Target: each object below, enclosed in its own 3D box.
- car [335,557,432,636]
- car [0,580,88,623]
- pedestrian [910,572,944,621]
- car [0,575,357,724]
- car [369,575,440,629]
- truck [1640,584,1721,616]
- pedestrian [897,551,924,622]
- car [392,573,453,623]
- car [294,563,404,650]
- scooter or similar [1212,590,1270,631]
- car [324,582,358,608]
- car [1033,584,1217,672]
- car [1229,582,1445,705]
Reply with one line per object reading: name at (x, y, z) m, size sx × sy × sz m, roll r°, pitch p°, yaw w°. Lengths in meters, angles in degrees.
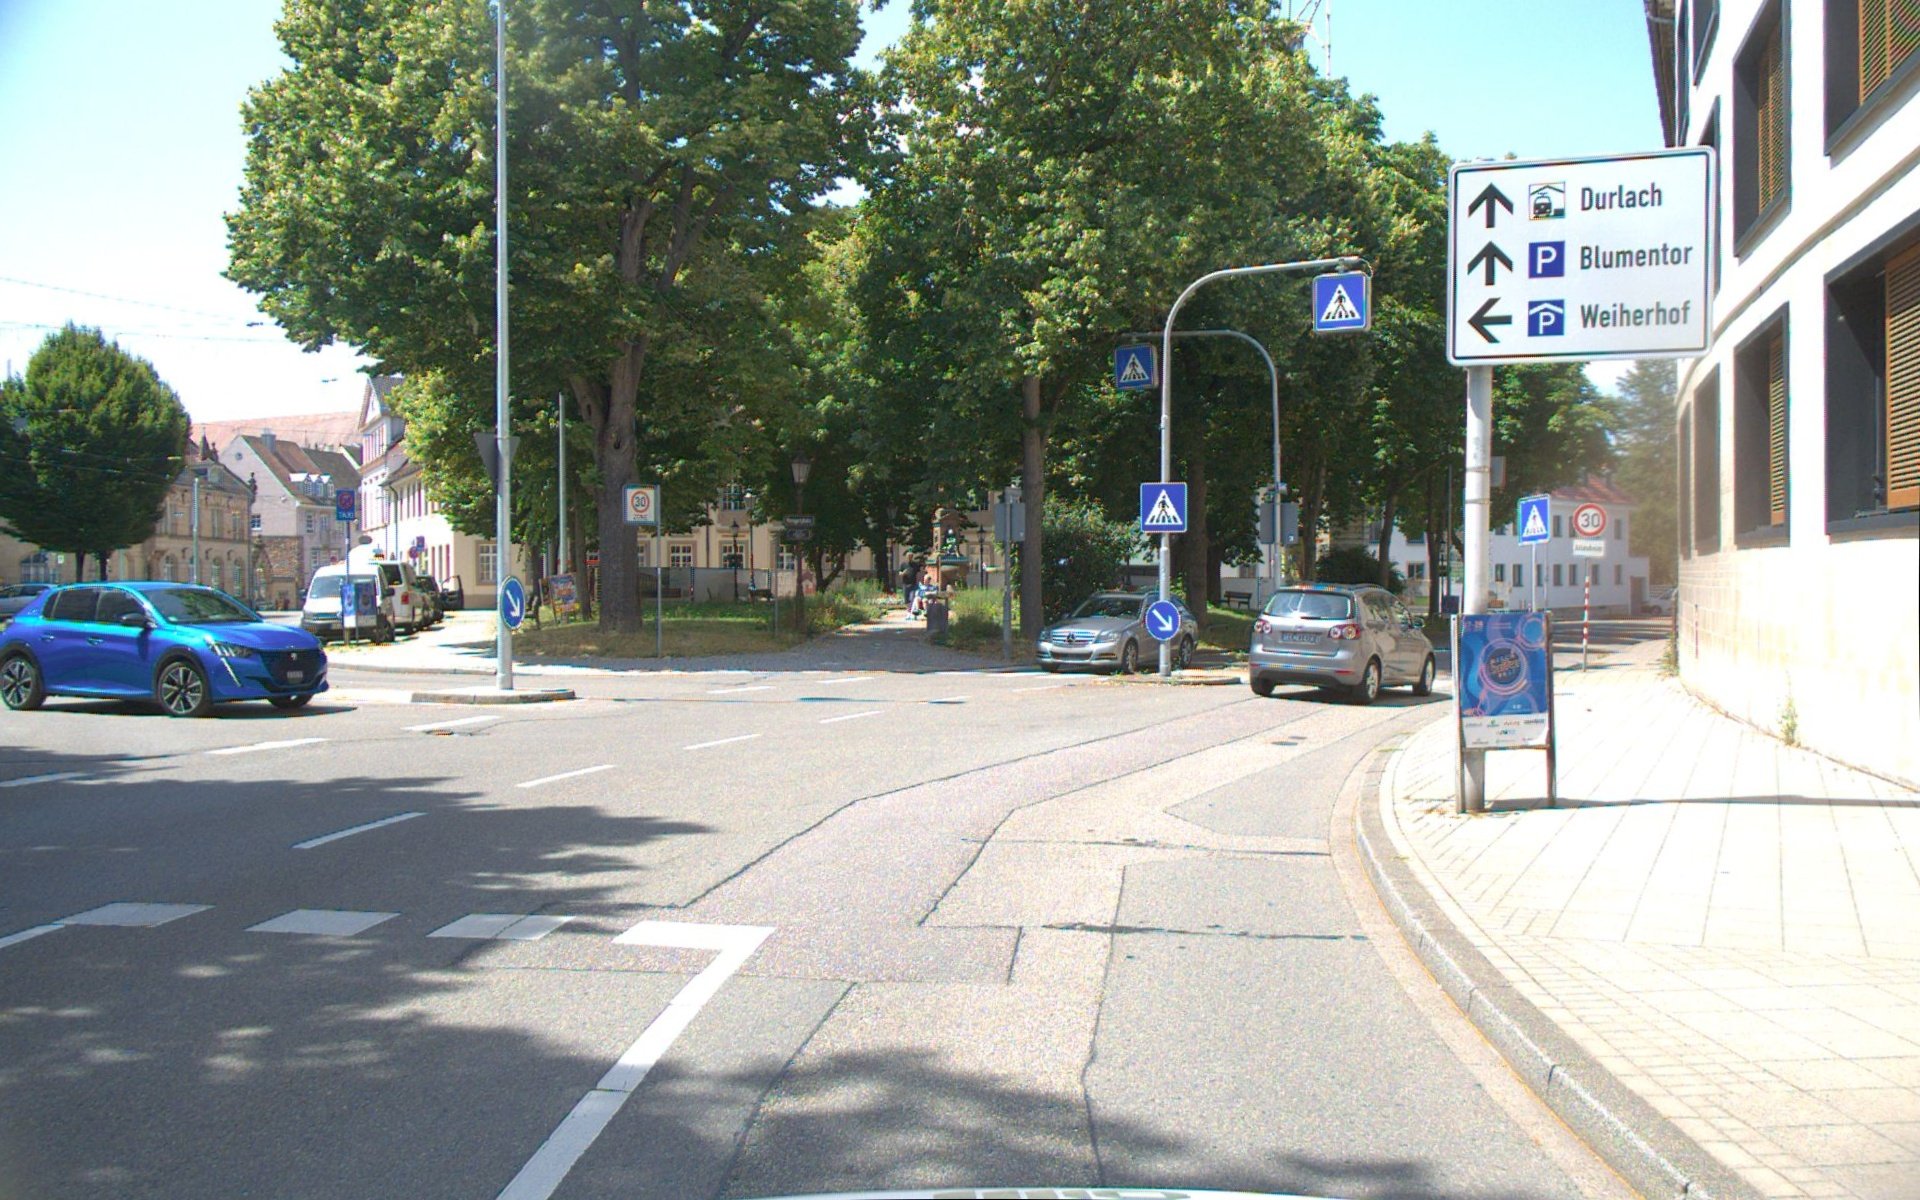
car at (-15.879, -0.126, 45.774) m, size 2.014 × 2.037 × 5.230 m, roll 0°, pitch 1°, yaw -14°
car at (-36.732, 0.080, 64.866) m, size 4.140 × 1.531 × 1.993 m, roll -3°, pitch 1°, yaw -20°
pedestrian at (-0.882, -0.100, 44.782) m, size 0.887 × 1.273 × 1.148 m, roll 0°, pitch 2°, yaw 0°
car at (-9.059, 0.494, 18.936) m, size 3.907 × 1.518 × 1.815 m, roll 1°, pitch 2°, yaw 24°
car at (-17.664, 0.034, 52.785) m, size 1.753 × 1.652 × 4.470 m, roll 0°, pitch 1°, yaw -14°
truck at (47.308, -0.028, 108.684) m, size 4.694 × 2.049 × 2.146 m, roll 1°, pitch 0°, yaw 20°
pedestrian at (-1.362, -0.374, 45.606) m, size 0.732 × 1.944 × 0.684 m, roll 0°, pitch 2°, yaw 0°
car at (-19.335, -0.098, 59.613) m, size 1.753 × 1.723 × 4.185 m, roll 0°, pitch 1°, yaw -14°
car at (-13.762, 0.106, 37.480) m, size 1.961 × 1.858 × 4.404 m, roll 0°, pitch 1°, yaw -15°
scooter or similar at (8.264, 0.293, 48.622) m, size 1.248 × 1.007 × 1.451 m, roll 10°, pitch 4°, yaw 24°
car at (-37.059, -0.301, 98.935) m, size 1.834 × 1.512 × 3.974 m, roll 0°, pitch 1°, yaw -21°
car at (3.174, 0.471, 31.033) m, size 1.706 × 1.514 × 4.397 m, roll 1°, pitch 1°, yaw 32°
car at (5.535, 0.552, 23.904) m, size 1.868 × 1.560 × 4.235 m, roll 2°, pitch 1°, yaw 30°
